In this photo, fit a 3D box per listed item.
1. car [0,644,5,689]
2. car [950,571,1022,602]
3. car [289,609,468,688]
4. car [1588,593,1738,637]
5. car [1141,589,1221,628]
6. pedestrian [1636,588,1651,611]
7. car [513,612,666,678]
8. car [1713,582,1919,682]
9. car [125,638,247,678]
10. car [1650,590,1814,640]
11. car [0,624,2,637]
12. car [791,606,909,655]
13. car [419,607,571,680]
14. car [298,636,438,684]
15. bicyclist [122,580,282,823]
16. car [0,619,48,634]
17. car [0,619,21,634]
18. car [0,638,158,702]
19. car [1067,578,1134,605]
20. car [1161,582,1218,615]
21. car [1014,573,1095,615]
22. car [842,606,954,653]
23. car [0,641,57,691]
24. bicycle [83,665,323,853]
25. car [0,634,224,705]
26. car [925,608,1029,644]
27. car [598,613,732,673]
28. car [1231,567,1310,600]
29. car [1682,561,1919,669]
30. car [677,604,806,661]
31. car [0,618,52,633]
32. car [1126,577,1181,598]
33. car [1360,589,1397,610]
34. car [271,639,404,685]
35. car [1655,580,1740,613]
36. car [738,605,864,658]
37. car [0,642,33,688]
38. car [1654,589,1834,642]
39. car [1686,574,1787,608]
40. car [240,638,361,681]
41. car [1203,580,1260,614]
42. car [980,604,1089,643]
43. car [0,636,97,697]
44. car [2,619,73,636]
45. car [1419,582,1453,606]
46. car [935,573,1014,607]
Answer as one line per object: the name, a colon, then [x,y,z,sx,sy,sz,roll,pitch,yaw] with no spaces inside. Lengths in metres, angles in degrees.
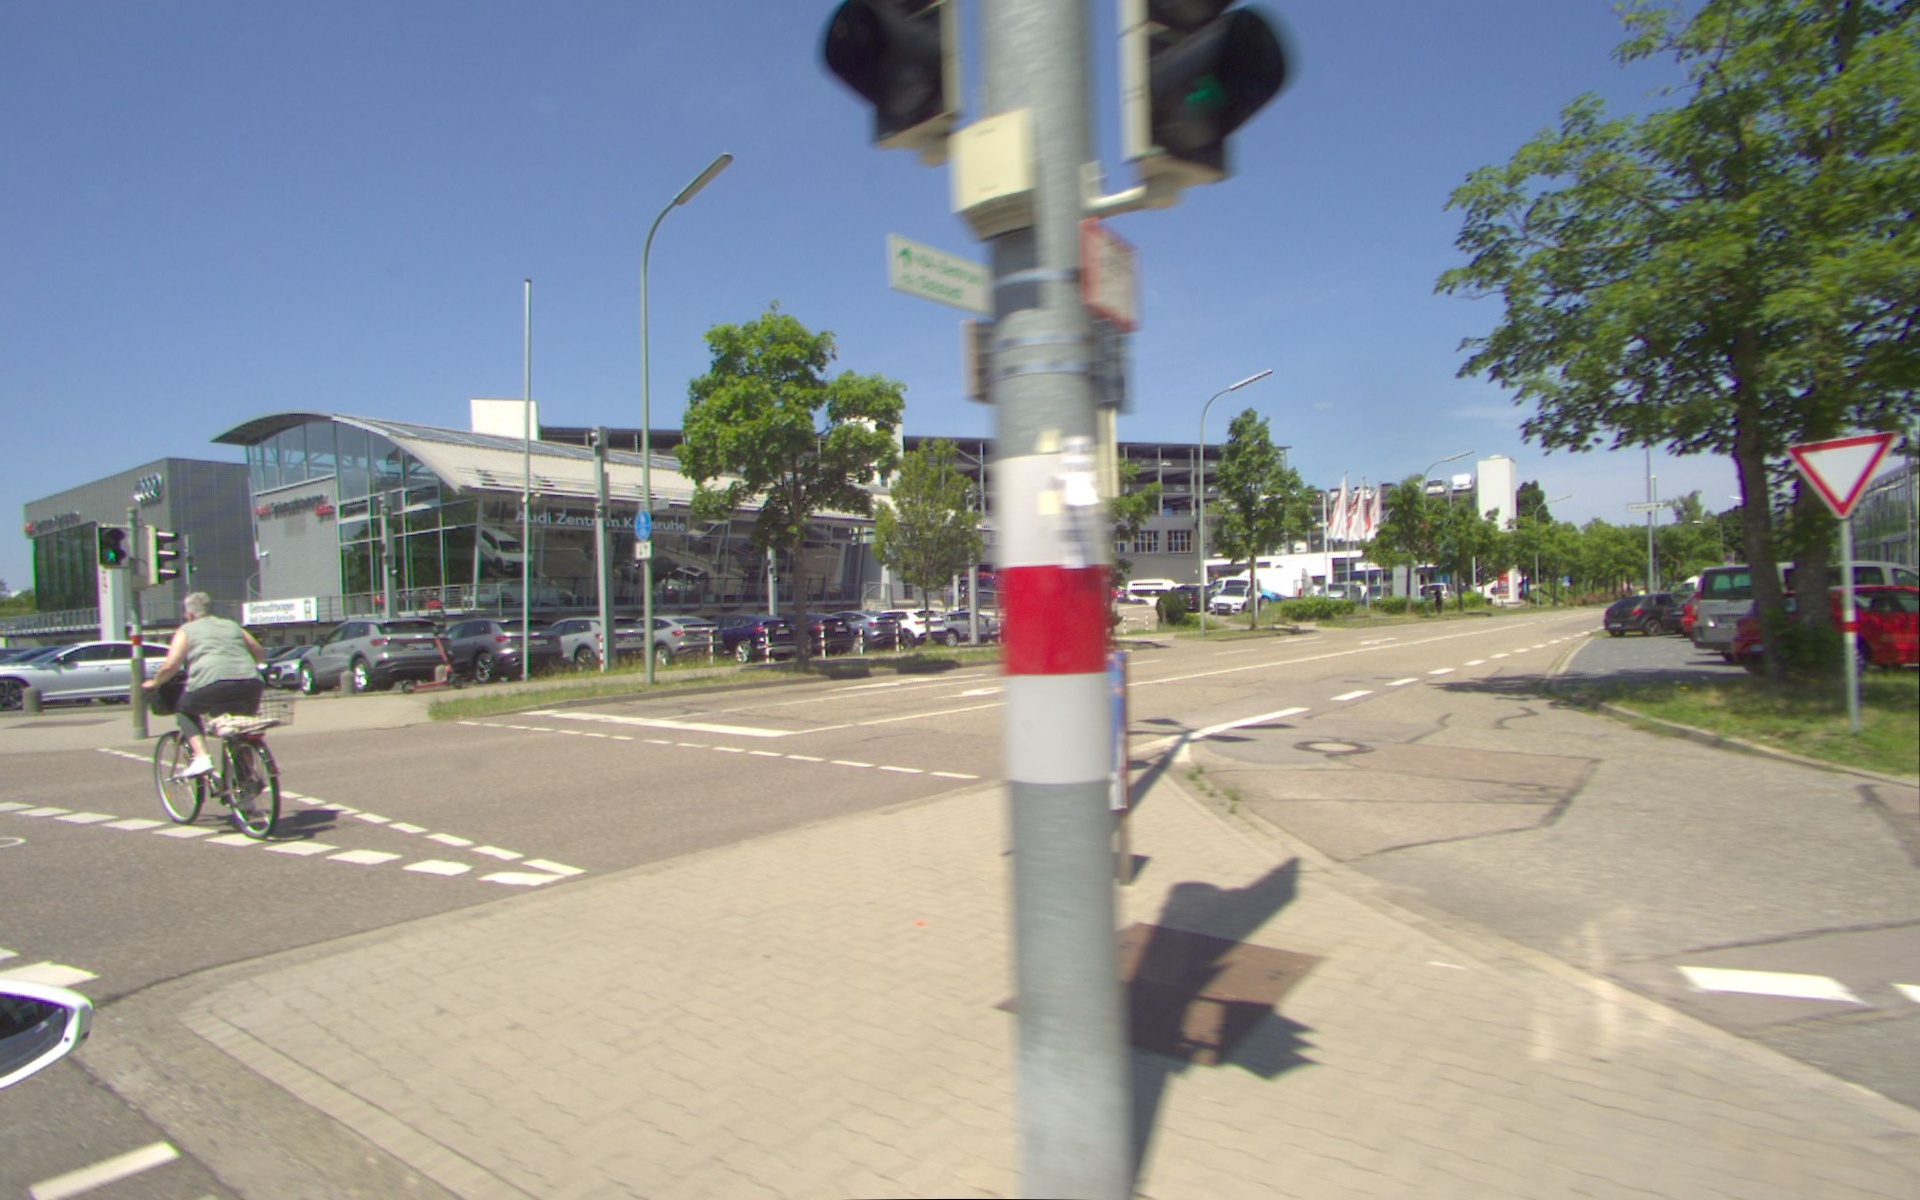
car: [-32.095,2.060,30.386,1.844,1.407,4.216,-2,-3,34]
car: [1.635,-0.837,62.580,4.086,1.745,1.906,-2,0,28]
car: [-13.293,1.122,22.802,4.446,1.578,1.861,-4,-1,36]
car: [23.685,0.504,33.819,3.924,1.350,1.919,-1,0,-10]
car: [10.362,0.366,46.721,1.890,1.717,4.556,-2,0,38]
pedestrian: [52.502,-0.049,76.912,0.864,1.699,0.751,-1,0,39]
car: [-10.091,1.219,27.208,3.940,1.675,1.842,-1,-2,31]
car: [14.827,0.474,16.305,3.923,1.451,1.700,-2,-1,-5]
car: [-34.721,2.579,44.990,1.826,1.675,3.976,-2,-3,34]
car: [23.930,0.447,31.094,3.924,1.393,1.873,-1,0,-10]
car: [-93.450,2.896,94.971,1.588,1.255,3.517,-2,-3,32]
car: [-3.962,1.131,35.900,3.940,1.675,1.842,-2,-3,31]
car: [-11.559,1.094,24.832,3.950,1.675,1.838,-2,-3,38]
car: [-21.433,2.146,36.380,1.826,1.618,3.976,-2,-3,34]
bicyclist: [-5.432,0.698,7.189,0.813,1.626,0.627,-1,-1,27]
car: [-78.511,2.207,83.220,1.659,1.145,3.720,-2,-2,30]
car: [-86.631,2.381,89.246,1.771,1.328,3.983,-2,-3,30]
car: [-21.227,1.582,22.966,1.844,1.407,4.086,-2,-3,34]
car: [10.410,-0.607,74.246,4.529,1.821,1.901,-2,0,36]
car: [13.201,-0.055,57.522,1.972,1.727,3.980,-2,-2,33]
car: [4.842,-0.298,50.582,1.887,1.992,5.224,-1,0,32]
car: [-2.381,1.159,38.126,3.940,1.675,1.842,-2,-3,31]
car: [-27.636,1.812,27.369,1.849,1.381,4.086,-2,-3,34]
bicycle: [-5.457,1.075,7.198,1.865,1.148,0.627,-1,0,27]
car: [-18.979,1.462,21.699,1.846,1.407,4.577,-2,-3,37]
car: [0.804,1.185,46.924,4.523,1.491,1.903,-1,0,-31]
car: [-8.565,1.197,29.039,3.761,1.637,1.634,0,0,31]
car: [20.109,-1.045,64.809,4.525,1.912,1.903,-2,0,33]
car: [16.929,0.261,19.421,4.839,1.911,1.918,-1,0,-10]
car: [-6.867,1.039,31.372,3.854,1.676,1.626,-2,-1,31]
car: [-80.446,2.193,85.600,1.692,1.226,3.934,-2,-2,30]
car: [17.054,-1.086,88.303,4.298,1.674,1.902,-2,0,34]
car: [32.549,-0.046,77.892,1.760,1.541,3.662,-2,0,38]
car: [-23.481,2.303,37.880,1.635,1.642,3.976,-2,-3,34]
car: [49.563,-0.210,67.425,4.517,2.039,1.988,-2,-2,36]
car: [-5.379,1.096,33.716,3.940,1.675,1.842,-2,-3,31]
car: [-29.900,1.905,29.061,1.844,1.365,4.090,-2,-3,34]
car: [22.445,0.431,28.735,3.924,1.371,1.919,-1,0,-10]
car: [64.859,-0.734,83.809,6.612,2.552,2.204,-2,-2,38]
car: [-25.926,2.306,39.462,1.620,1.600,3.639,-2,-3,34]
car: [15.274,-0.124,56.173,1.972,1.727,3.980,-2,-2,33]
car: [3.316,1.003,44.338,4.550,1.491,1.840,-2,1,-31]
car: [-24.170,1.686,25.901,4.604,1.437,1.857,-2,-3,37]
car: [-76.066,2.276,82.640,1.771,1.328,3.983,-2,-3,30]
car: [43.000,-0.543,90.433,1.896,2.040,3.971,-1,0,38]
car: [0.826,-0.528,53.413,1.890,1.730,4.556,-2,0,37]
